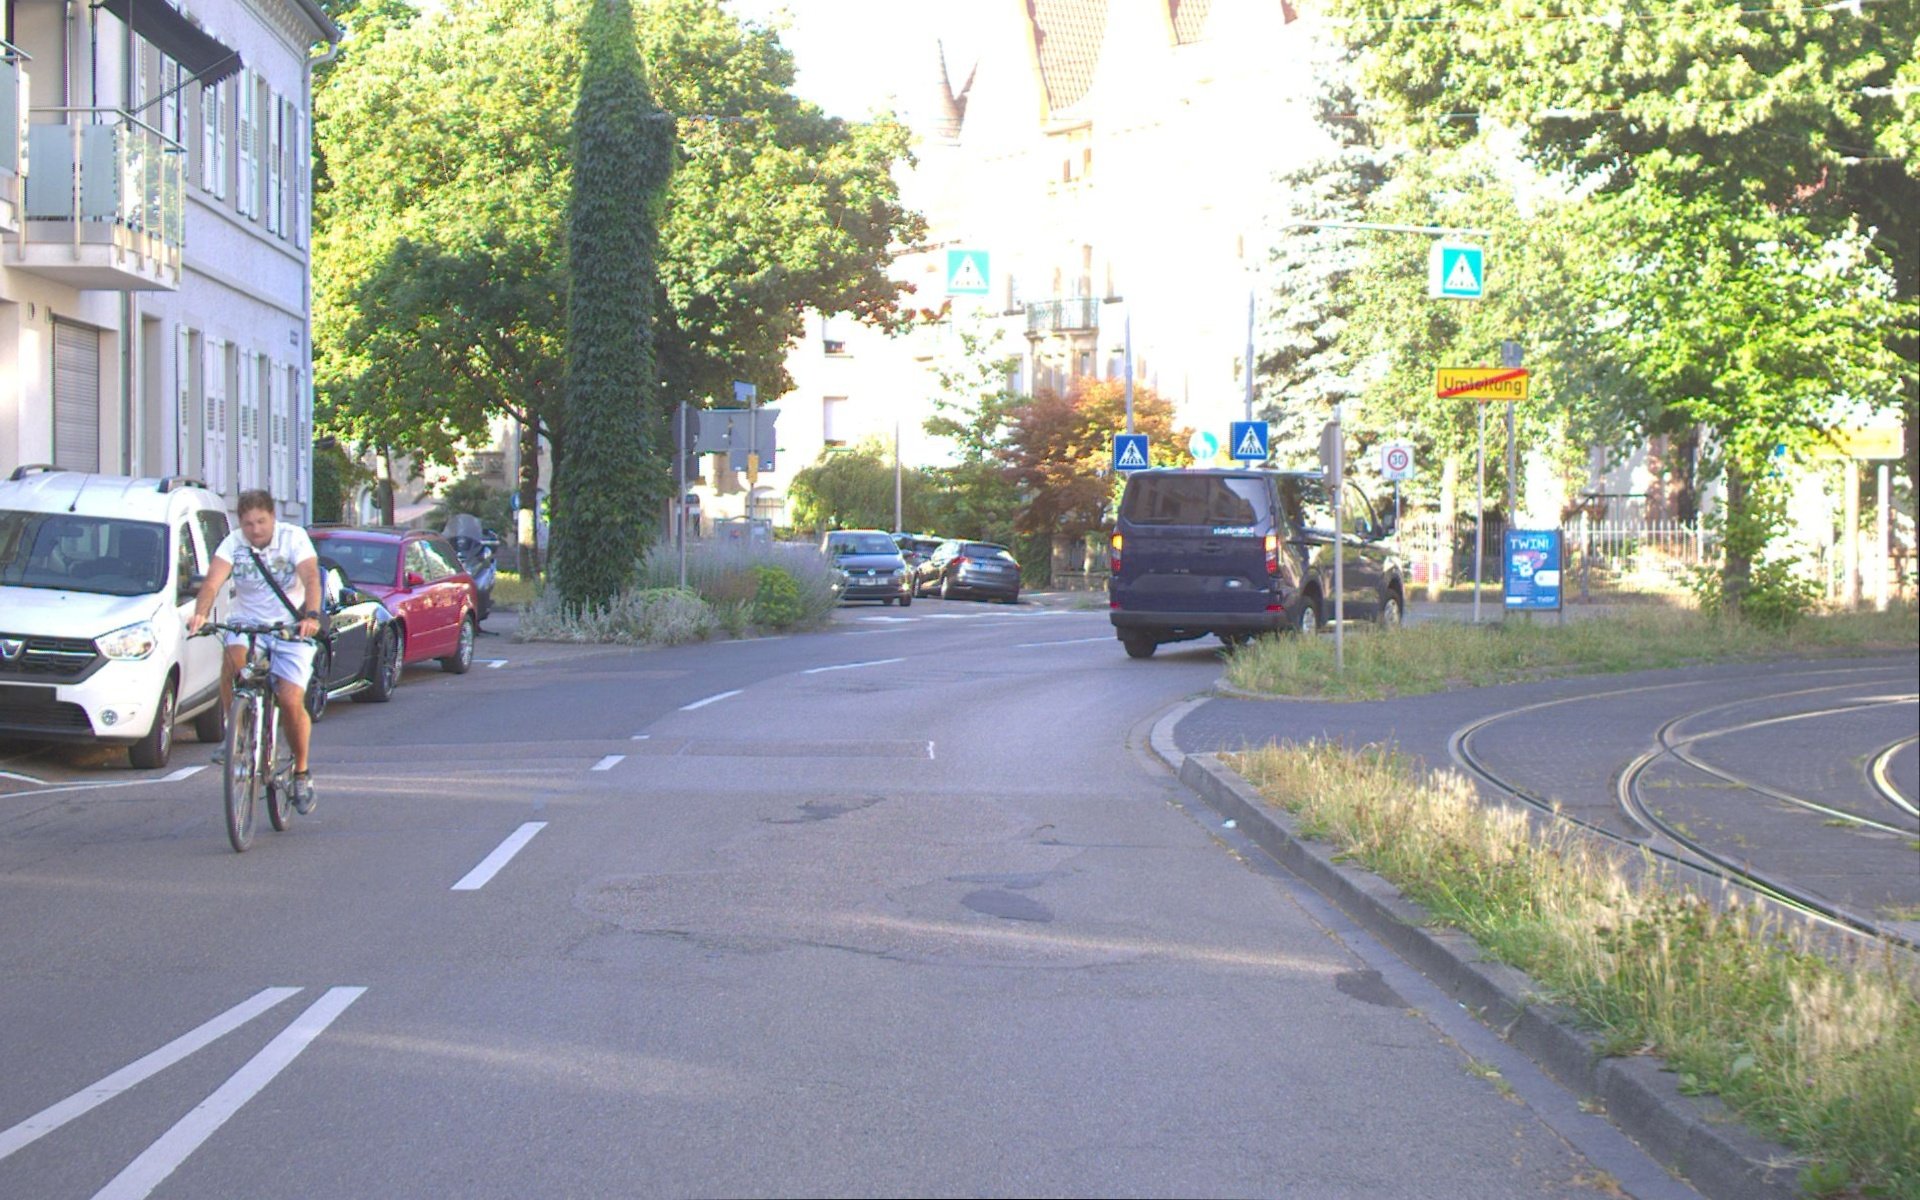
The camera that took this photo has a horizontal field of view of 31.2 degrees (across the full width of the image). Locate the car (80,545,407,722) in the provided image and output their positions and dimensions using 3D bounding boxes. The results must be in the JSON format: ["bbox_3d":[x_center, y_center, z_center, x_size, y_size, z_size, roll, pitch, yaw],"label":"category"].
[{"bbox_3d":[-5.630,0.216,27.481,1.664,1.269,4.026,1,1,1],"label":"car"}]

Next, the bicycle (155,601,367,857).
[{"bbox_3d":[-3.240,0.571,16.076,0.622,1.078,1.784,-1,1,-1],"label":"bicycle"}]

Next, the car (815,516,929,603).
[{"bbox_3d":[-1.701,-0.790,65.304,1.712,1.398,3.740,0,4,-9],"label":"car"}]

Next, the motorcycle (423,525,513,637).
[{"bbox_3d":[-6.142,-0.257,42.791,0.930,1.353,2.565,0,1,-12],"label":"motorcycle"}]

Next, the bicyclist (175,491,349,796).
[{"bbox_3d":[-3.250,0.192,16.068,0.622,1.375,0.801,-1,1,-1],"label":"bicyclist"}]

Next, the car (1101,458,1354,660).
[{"bbox_3d":[2.887,-0.482,36.365,1.995,2.006,3.998,0,2,15],"label":"car"}]

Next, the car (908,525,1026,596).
[{"bbox_3d":[0.124,-0.937,80.011,1.993,1.590,4.001,0,1,-11],"label":"car"}]

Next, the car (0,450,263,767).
[{"bbox_3d":[-5.807,0.001,22.599,1.810,1.863,4.333,1,1,-4],"label":"car"}]

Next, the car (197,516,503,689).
[{"bbox_3d":[-5.857,-0.037,33.549,1.709,1.461,4.591,2,2,6],"label":"car"}]
